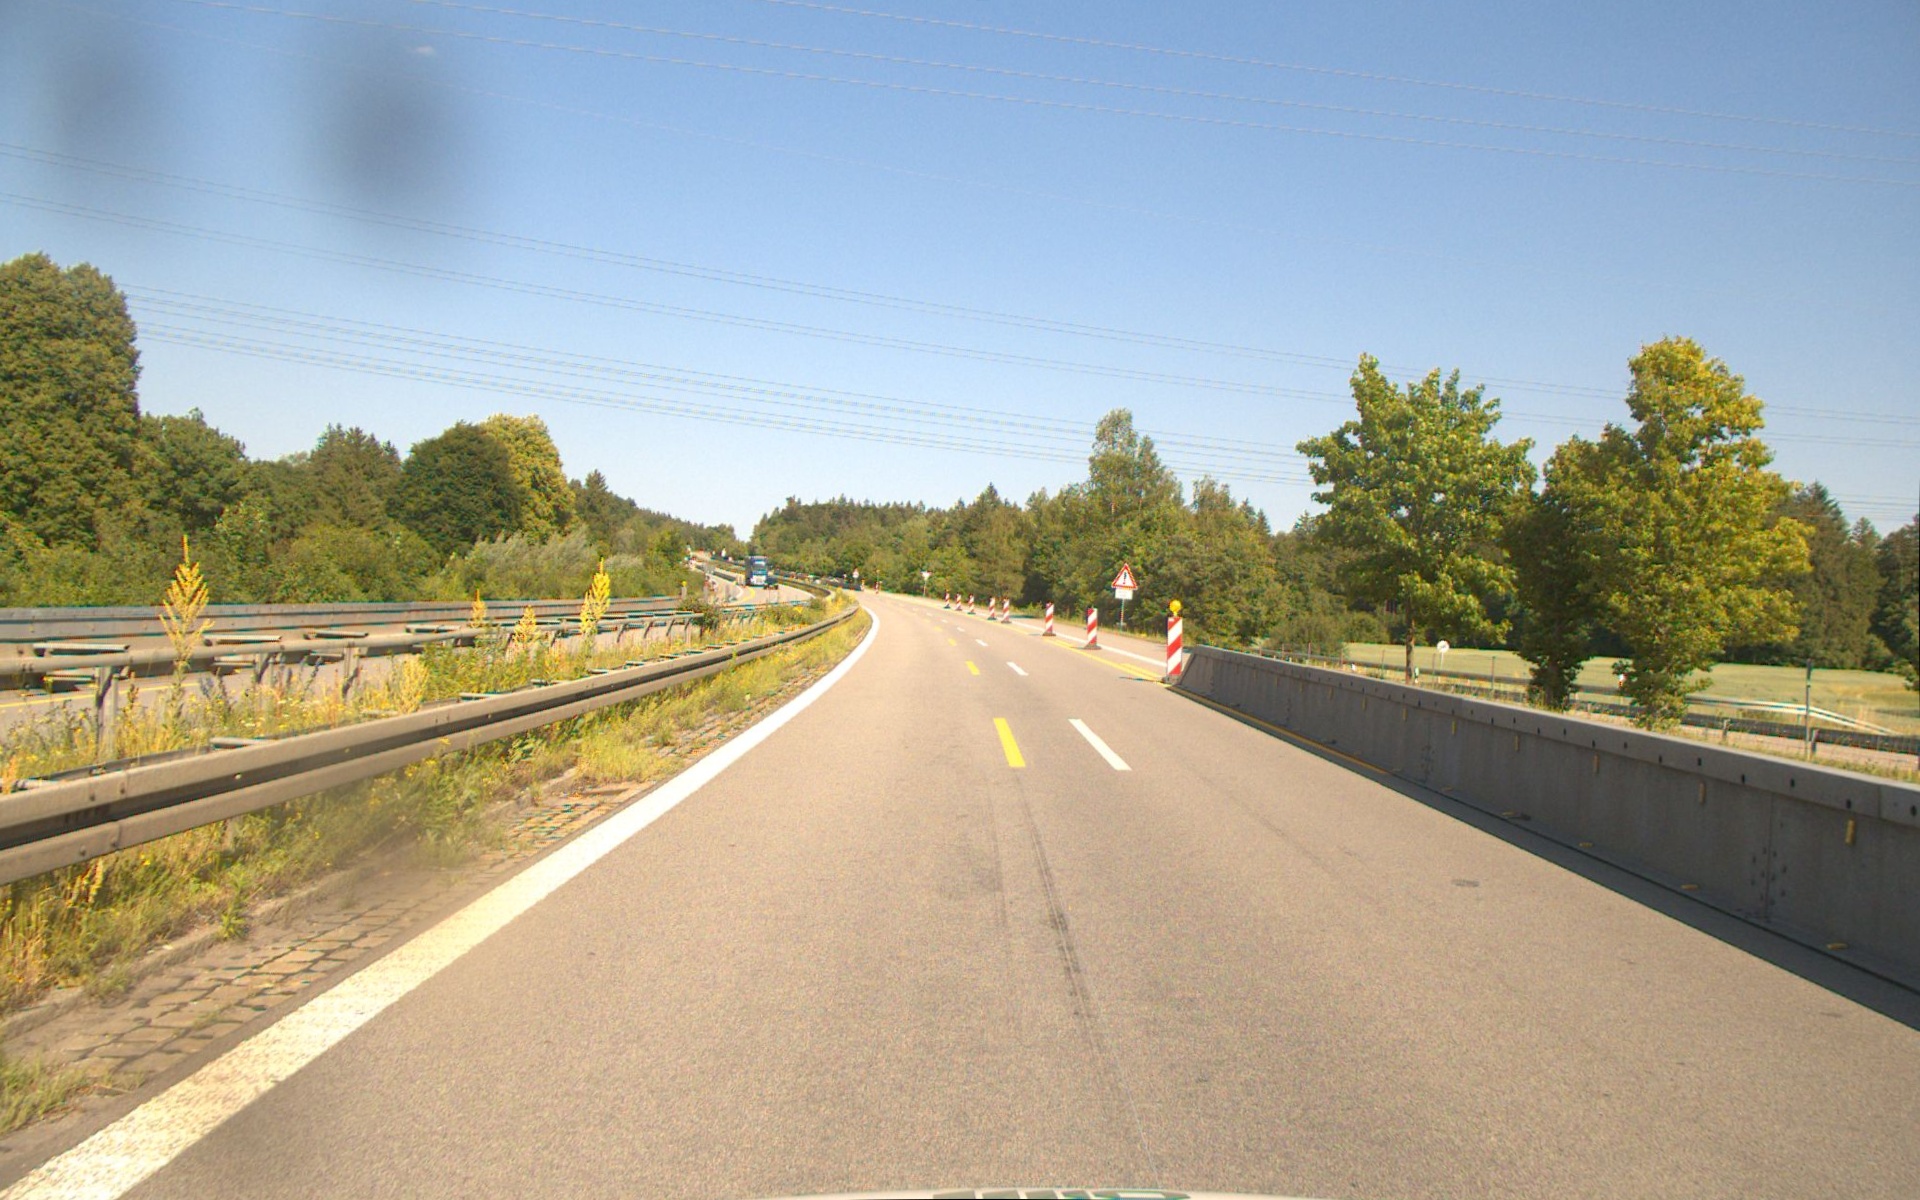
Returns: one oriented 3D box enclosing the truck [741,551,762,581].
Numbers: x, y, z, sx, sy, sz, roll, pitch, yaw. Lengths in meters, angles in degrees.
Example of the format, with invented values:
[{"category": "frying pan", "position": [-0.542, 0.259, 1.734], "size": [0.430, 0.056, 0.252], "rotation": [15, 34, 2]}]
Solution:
[{"category": "truck", "position": [-29.000, -4.727, 229.885], "size": [2.581, 4.028, 5.836], "rotation": [1, 0, -6]}]
